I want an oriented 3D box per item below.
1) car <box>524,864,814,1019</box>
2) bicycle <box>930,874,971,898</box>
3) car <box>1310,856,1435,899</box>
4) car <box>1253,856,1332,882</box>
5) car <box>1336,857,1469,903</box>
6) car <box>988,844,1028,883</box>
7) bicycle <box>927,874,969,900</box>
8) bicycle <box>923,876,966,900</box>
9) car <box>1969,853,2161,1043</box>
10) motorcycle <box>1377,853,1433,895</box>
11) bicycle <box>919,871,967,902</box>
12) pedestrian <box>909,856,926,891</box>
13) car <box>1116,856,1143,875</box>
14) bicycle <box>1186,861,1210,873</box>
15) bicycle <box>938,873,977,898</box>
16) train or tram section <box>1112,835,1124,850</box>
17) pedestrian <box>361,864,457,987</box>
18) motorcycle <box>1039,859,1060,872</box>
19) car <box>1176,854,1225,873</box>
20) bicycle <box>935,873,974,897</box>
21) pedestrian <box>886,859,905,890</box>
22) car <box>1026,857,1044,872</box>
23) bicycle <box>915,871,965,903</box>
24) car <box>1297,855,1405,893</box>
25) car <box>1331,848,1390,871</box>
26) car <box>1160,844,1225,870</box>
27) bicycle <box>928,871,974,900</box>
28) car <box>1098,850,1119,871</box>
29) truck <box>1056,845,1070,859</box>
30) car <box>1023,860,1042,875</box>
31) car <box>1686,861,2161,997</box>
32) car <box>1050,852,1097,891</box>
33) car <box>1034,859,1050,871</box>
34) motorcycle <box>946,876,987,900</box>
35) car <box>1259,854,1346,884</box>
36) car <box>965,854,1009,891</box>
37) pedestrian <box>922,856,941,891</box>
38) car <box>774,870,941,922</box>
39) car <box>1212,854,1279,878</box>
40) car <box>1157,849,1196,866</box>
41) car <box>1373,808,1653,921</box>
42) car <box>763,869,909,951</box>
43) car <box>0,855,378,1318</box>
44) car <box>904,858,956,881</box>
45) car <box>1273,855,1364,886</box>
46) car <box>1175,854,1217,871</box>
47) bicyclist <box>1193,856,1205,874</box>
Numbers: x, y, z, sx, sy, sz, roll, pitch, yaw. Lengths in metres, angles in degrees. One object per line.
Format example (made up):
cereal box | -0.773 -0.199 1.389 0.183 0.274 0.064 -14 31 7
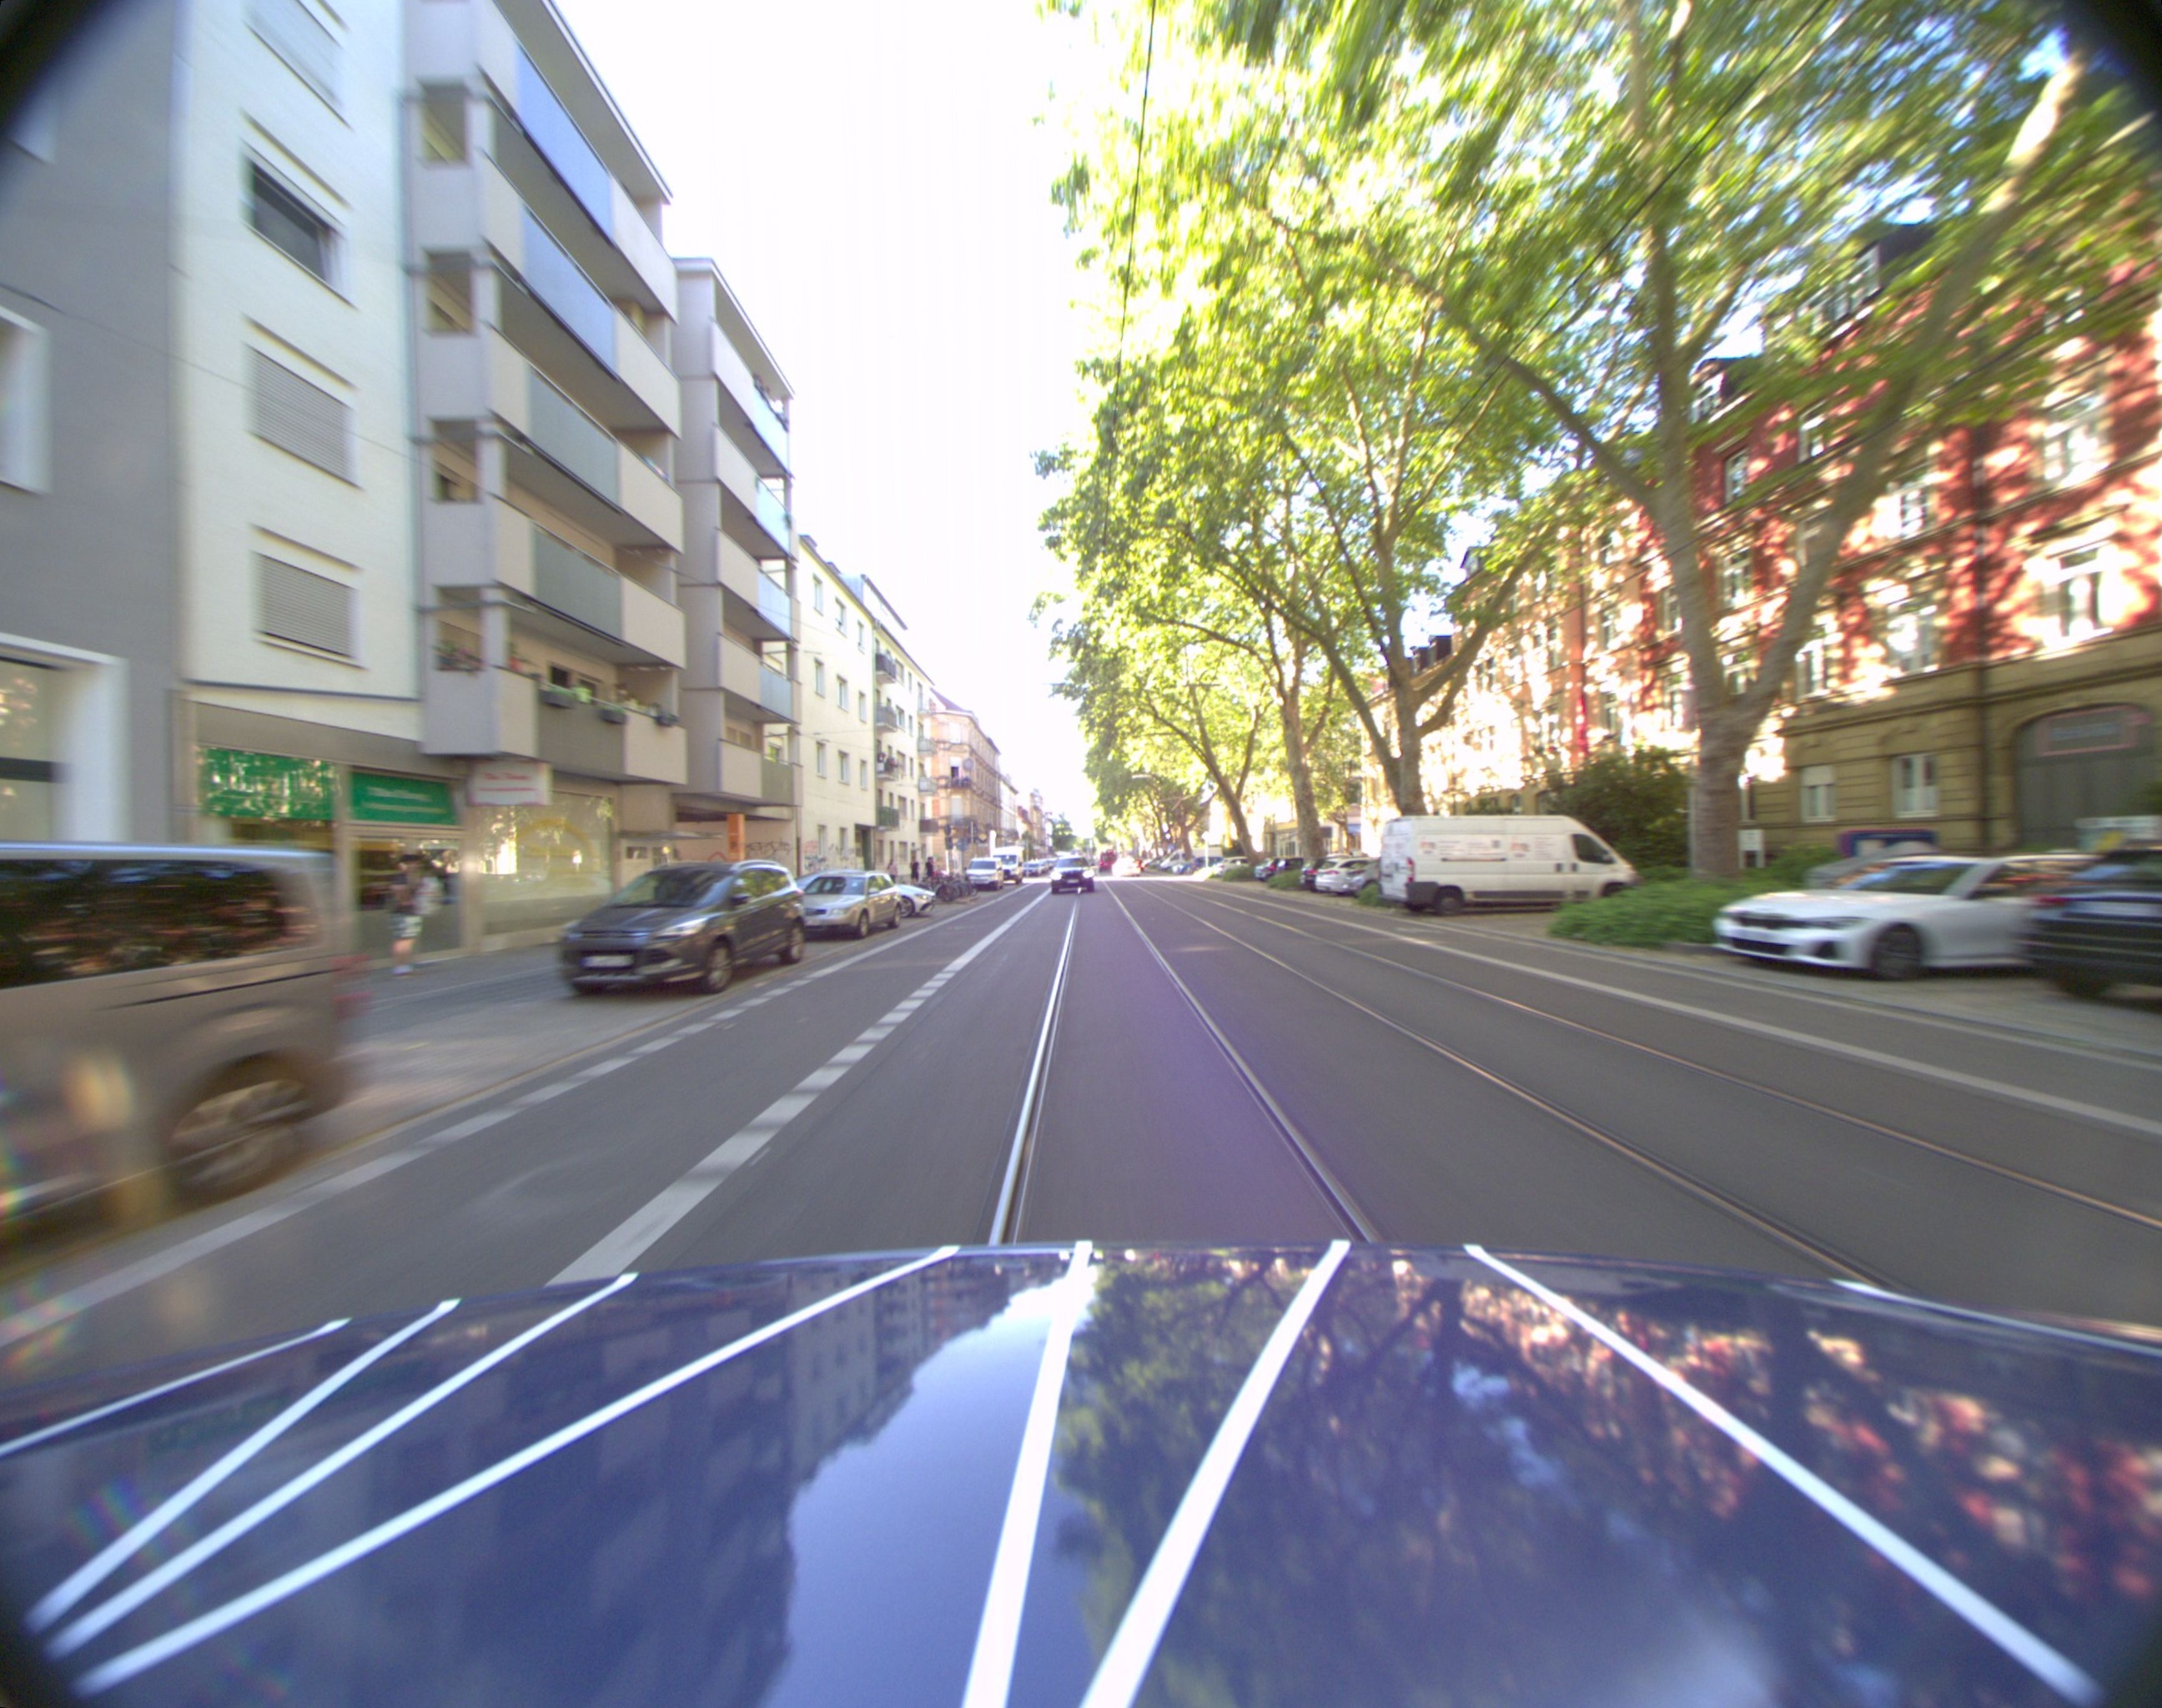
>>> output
car | -5.439 1.020 10.779 1.771 1.695 4.282 0 0 0
bicycle | -5.634 1.366 32.804 1.657 0.981 0.457 1 1 1
car | 10.877 0.854 28.558 3.996 1.487 1.830 -1 0 1
car | 11.926 0.834 43.020 3.999 1.361 1.604 -1 0 -5
car | 10.950 0.858 26.043 3.817 1.424 1.704 -1 0 3
car | -5.004 0.612 52.891 2.154 2.481 6.088 -1 0 0
bicycle | -5.486 1.370 31.416 1.657 1.015 0.457 1 1 1
bicycle | -5.541 1.373 30.941 1.657 0.960 0.457 1 1 1
car | 11.153 0.751 6.714 4.381 1.530 1.872 -1 0 0
motorcycle | 13.718 0.809 32.301 1.054 1.622 3.011 -3 1 1
bicycle | -5.534 1.294 30.459 1.828 1.184 0.457 1 1 1
pedestrian | -8.696 1.040 40.366 0.626 1.812 1.082 0 1 2
car | 3.826 0.887 60.391 1.722 1.351 4.469 -1 0 -1
bicycle | 9.952 1.121 64.730 1.875 1.025 0.628 -1 0 0
bicycle | -5.521 1.407 33.984 1.657 1.049 0.457 1 1 1
train or tram section | 9.947 -3.109 207.171 2.944 3.598 11.062 -3 1 2
pedestrian | -9.776 1.009 11.068 0.757 1.710 0.721 -1 0 17
motorcycle | -3.469 1.252 83.591 2.143 1.281 0.642 -2 1 -21
car | 11.268 0.846 71.744 4.331 1.702 1.816 -1 0 -3
bicycle | -5.567 1.362 33.445 1.657 0.981 0.457 1 1 1
pedestrian | -9.884 1.062 40.426 0.633 1.571 0.933 4 1 2
car | -4.764 1.089 79.534 1.606 1.412 4.013 1 0 1
bicycle | -5.552 1.295 29.983 1.897 1.184 0.457 1 1 1
car | 11.041 0.811 31.257 3.802 1.452 1.704 -1 0 1
car | 24.291 0.463 66.187 4.580 1.870 2.129 -1 3 10
car | 11.867 0.326 81.042 6.618 2.393 2.000 -3 0 1
bicycle | -5.488 1.319 32.063 1.798 1.141 0.704 1 0 1
car | 3.139 0.777 87.109 1.923 2.213 4.960 -2 -2 -3
truck | -4.125 -0.528 177.345 2.842 3.145 7.292 -3 1 0
car | -4.651 1.292 73.937 1.653 1.412 4.059 1 0 -1
car | 10.411 0.833 9.312 4.421 1.376 1.933 -1 0 0
car | -0.287 0.833 36.442 1.948 1.694 4.632 -2 -1 3
car | -4.388 1.289 86.367 1.653 1.265 3.724 1 0 0
motorcycle | -5.257 1.549 34.847 1.820 1.074 0.618 0 1 24
car | 11.719 0.784 40.297 4.000 1.452 1.769 -1 0 -8
car | -5.217 0.987 42.678 1.863 1.810 4.350 2 1 0
pedestrian | -7.907 0.999 40.244 0.711 1.812 1.082 0 1 2
car | -6.578 1.207 22.815 4.629 1.429 1.863 0 0 -10
car | 10.757 0.767 49.902 3.997 1.452 1.879 -1 0 0
car | 11.971 0.403 95.528 4.637 1.896 1.923 -3 0 4
car | 10.689 0.265 19.156 5.755 2.521 2.162 -2 0 1
car | -5.424 1.162 17.491 1.728 1.516 4.513 -1 0 2
car | -5.383 0.973 2.239 1.863 1.879 4.925 -1 0 2
car | -11.986 1.223 60.603 3.659 1.565 1.790 -2 1 3
car | 11.756 0.812 37.761 3.996 1.452 1.704 -1 0 3
car | 11.150 0.819 73.678 3.779 1.509 1.747 -1 0 -3
bicyclist | 10.062 0.948 64.730 0.868 1.517 0.736 -1 0 0
